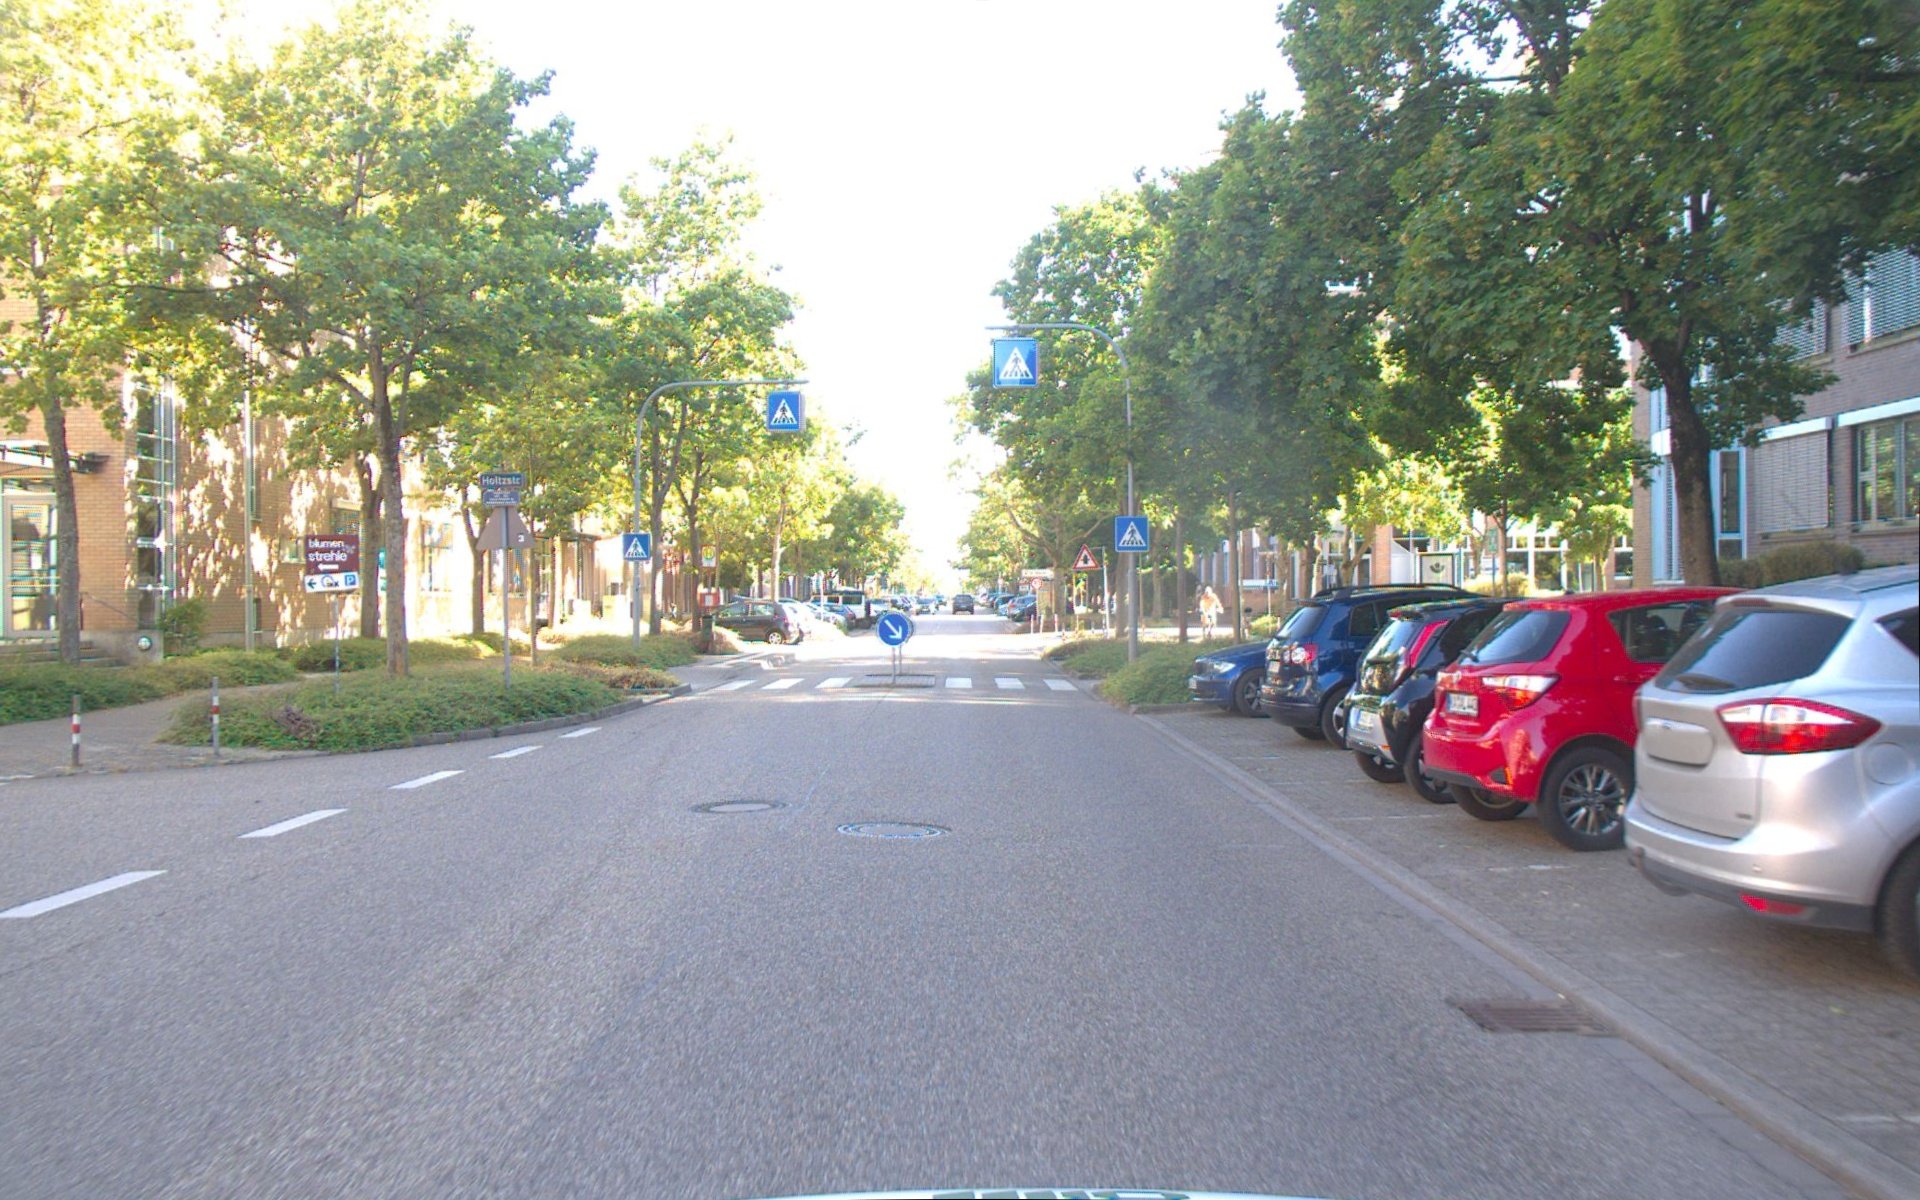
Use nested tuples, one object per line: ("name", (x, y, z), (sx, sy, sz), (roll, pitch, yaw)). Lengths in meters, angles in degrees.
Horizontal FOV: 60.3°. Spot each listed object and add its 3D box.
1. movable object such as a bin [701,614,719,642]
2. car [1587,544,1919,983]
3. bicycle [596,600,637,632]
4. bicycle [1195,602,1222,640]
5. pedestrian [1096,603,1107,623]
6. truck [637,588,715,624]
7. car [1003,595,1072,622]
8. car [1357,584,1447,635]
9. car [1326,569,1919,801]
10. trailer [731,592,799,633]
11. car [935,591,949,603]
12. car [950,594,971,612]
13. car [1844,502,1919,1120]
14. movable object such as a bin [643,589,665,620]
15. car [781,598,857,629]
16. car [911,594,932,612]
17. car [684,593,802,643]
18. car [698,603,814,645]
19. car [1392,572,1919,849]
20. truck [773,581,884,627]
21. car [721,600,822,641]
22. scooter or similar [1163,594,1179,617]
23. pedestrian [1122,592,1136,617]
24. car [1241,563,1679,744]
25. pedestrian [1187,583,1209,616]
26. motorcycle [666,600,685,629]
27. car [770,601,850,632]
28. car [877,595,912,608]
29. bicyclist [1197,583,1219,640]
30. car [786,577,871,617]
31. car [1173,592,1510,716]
("movable object such as a bin", (-6.980, 0.780, 46.222), (0.432, 0.744, 0.408), (1, 0, 0))
("car", (4.921, 0.569, 6.950), (3.904, 1.612, 1.714), (-1, 0, 1))
("bicycle", (-15.616, 0.726, 75.210), (1.701, 1.433, 0.610), (1, -1, -23))
("bicycle", (7.347, 0.606, 48.980), (0.523, 1.097, 1.920), (-1, 0, 1))
("pedestrian", (10.768, 0.960, 126.003), (0.686, 1.483, 0.715), (-1, 0, -3))
("truck", (-23.154, 0.467, 135.033), (5.981, 2.752, 2.577), (-1, 0, -2))
("car", (5.051, 0.569, 108.267), (4.268, 1.625, 1.937), (-1, 0, -7))
("car", (14.785, 0.352, 55.527), (1.703, 1.593, 4.363), (0, -2, -2))
("car", (5.105, 0.613, 12.899), (4.044, 1.486, 1.659), (-3, 0, -4))
("trailer", (-8.386, 0.541, 71.334), (2.669, 1.717, 1.712), (1, 0, 0))
("car", (-2.524, -0.403, 234.811), (1.854, 1.713, 4.351), (-1, 0, -2))
("car", (0.069, 0.298, 153.354), (1.893, 1.625, 4.366), (-1, 0, 0))
("car", (4.680, 0.533, 4.039), (4.043, 1.696, 1.906), (-1, 0, -4))
("movable object such as a bin", (-16.278, 0.242, 87.908), (1.125, 1.648, 1.437), (-1, 0, -12))
("car", (-7.265, 0.676, 85.429), (3.701, 1.518, 1.833), (1, 0, 0))
("car", (-3.435, 0.248, 146.387), (1.743, 1.538, 4.000), (-1, 0, 0))
("car", (-7.646, 0.630, 58.479), (3.906, 1.598, 1.728), (2, 0, -1))
("car", (-7.528, 0.877, 61.297), (4.067, 1.427, 1.801), (1, 0, -1))
("car", (5.068, 0.620, 10.623), (4.043, 1.544, 1.835), (-1, 0, -4))
("truck", (-7.453, 0.208, 94.104), (6.104, 2.464, 2.187), (-1, 0, 0))
("car", (-7.309, 0.793, 64.333), (3.678, 1.477, 1.754), (2, 0, -1))
("scooter or similar", (12.425, 0.330, 97.224), (0.538, 1.349, 1.804), (1, 0, -5))
("pedestrian", (12.302, 0.325, 120.658), (0.683, 1.740, 0.918), (-4, 1, -11))
("car", (5.192, 0.550, 17.463), (4.044, 1.618, 1.659), (-3, -1, -4))
("pedestrian", (13.157, -0.010, 91.419), (0.902, 1.740, 0.695), (-4, 1, -14))
("motorcycle", (-15.983, 0.795, 92.996), (0.700, 1.619, 2.109), (-1, 0, -2))
("car", (-7.495, 0.808, 82.969), (3.754, 1.486, 1.733), (1, 0, 3))
("car", (-7.220, 0.168, 183.251), (3.814, 1.489, 1.858), (-1, 0, -1))
("bicyclist", (7.345, 0.326, 48.986), (0.526, 1.665, 0.822), (-1, 0, 1))
("car", (-7.022, -0.159, 88.794), (4.391, 2.087, 1.999), (1, 0, -2))
("car", (5.021, 0.687, 22.077), (4.034, 1.394, 1.653), (-3, 0, -4))
